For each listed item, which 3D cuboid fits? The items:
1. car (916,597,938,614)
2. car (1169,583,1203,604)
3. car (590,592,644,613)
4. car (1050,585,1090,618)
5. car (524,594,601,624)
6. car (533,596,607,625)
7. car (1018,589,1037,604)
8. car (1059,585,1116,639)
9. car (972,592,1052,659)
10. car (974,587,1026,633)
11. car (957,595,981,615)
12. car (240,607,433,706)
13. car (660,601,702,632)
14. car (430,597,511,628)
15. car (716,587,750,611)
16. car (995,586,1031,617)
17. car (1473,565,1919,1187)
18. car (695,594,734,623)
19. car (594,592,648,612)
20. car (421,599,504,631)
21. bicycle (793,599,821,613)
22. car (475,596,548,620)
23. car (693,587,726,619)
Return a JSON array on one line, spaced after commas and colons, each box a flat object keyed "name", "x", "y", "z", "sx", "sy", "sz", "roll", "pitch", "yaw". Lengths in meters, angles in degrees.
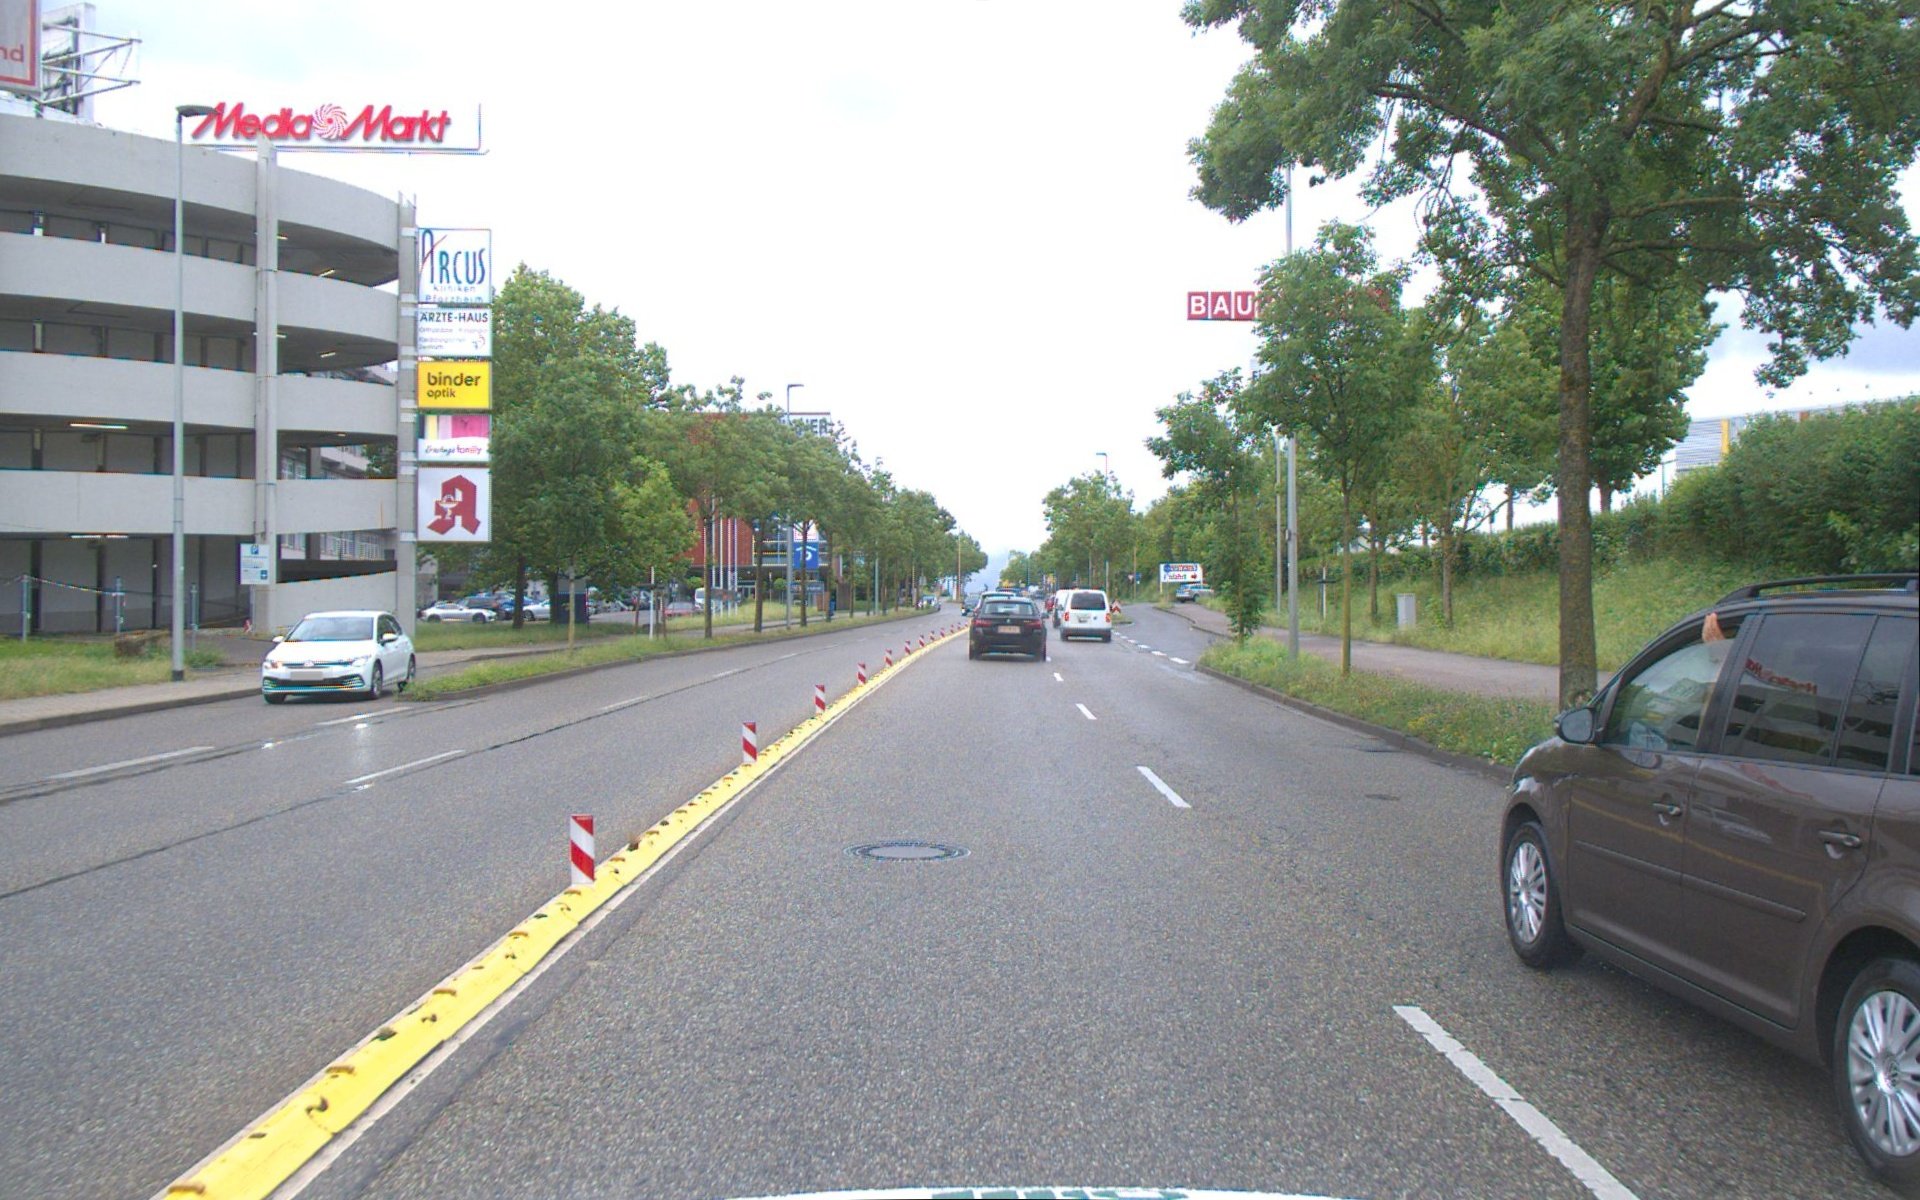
[{"name": "car", "x": -3.295, "y": 0.506, "z": 164.694, "sx": 1.828, "sy": 1.580, "sz": 4.577, "roll": -2, "pitch": 0, "yaw": 2}, {"name": "car", "x": 18.652, "y": -0.539, "z": 136.178, "sx": 1.758, "sy": 1.537, "sz": 3.998, "roll": 2, "pitch": -1, "yaw": 23}, {"name": "car", "x": -27.366, "y": 0.171, "z": 132.076, "sx": 4.029, "sy": 1.536, "sz": 1.817, "roll": 1, "pitch": 1, "yaw": -6}, {"name": "car", "x": 5.334, "y": 0.088, "z": 80.826, "sx": 1.757, "sy": 1.537, "sz": 4.001, "roll": 2, "pitch": -1, "yaw": 2}, {"name": "car", "x": -25.127, "y": 0.556, "z": 104.667, "sx": 4.510, "sy": 1.776, "sz": 1.965, "roll": 1, "pitch": 1, "yaw": -6}, {"name": "car", "x": -25.334, "y": 0.664, "z": 107.506, "sx": 4.412, "sy": 1.776, "sz": 1.898, "roll": 1, "pitch": 1, "yaw": -6}, {"name": "car", "x": 7.180, "y": -0.402, "z": 177.254, "sx": 1.758, "sy": 1.537, "sz": 3.999, "roll": 2, "pitch": -1, "yaw": -1}, {"name": "car", "x": 4.519, "y": 0.393, "z": 58.984, "sx": 1.789, "sy": 1.789, "sz": 4.001, "roll": 2, "pitch": 0, "yaw": 2}, {"name": "car", "x": 1.236, "y": 0.572, "z": 39.831, "sx": 1.789, "sy": 1.494, "sz": 4.001, "roll": 1, "pitch": 0, "yaw": 1}, {"name": "car", "x": 1.455, "y": 0.367, "z": 59.308, "sx": 1.757, "sy": 1.537, "sz": 4.001, "roll": 2, "pitch": -1, "yaw": 2}, {"name": "car", "x": 0.696, "y": 0.361, "z": 126.098, "sx": 1.789, "sy": 1.491, "sz": 4.617, "roll": 0, "pitch": 0, "yaw": 1}, {"name": "car", "x": -10.516, "y": 0.903, "z": 28.237, "sx": 1.862, "sy": 1.433, "sz": 4.420, "roll": -2, "pitch": 1, "yaw": -4}, {"name": "car", "x": -16.760, "y": 0.958, "z": 99.714, "sx": 1.894, "sy": 1.637, "sz": 4.710, "roll": 1, "pitch": 2, "yaw": -2}, {"name": "car", "x": -30.248, "y": 0.739, "z": 102.238, "sx": 4.514, "sy": 1.776, "sz": 2.130, "roll": 1, "pitch": 1, "yaw": -9}, {"name": "car", "x": -18.532, "y": -0.088, "z": 135.006, "sx": 2.094, "sy": 1.804, "sz": 4.609, "roll": 1, "pitch": 1, "yaw": 0}, {"name": "car", "x": 2.778, "y": 0.082, "z": 87.649, "sx": 1.757, "sy": 1.537, "sz": 4.000, "roll": 2, "pitch": -1, "yaw": 1}, {"name": "car", "x": 3.290, "y": 0.729, "z": 5.627, "sx": 1.651, "sy": 1.609, "sz": 4.217, "roll": 1, "pitch": 0, "yaw": -2}, {"name": "car", "x": -16.916, "y": 0.540, "z": 114.149, "sx": 1.997, "sy": 1.792, "sz": 4.946, "roll": 1, "pitch": 1, "yaw": -1}, {"name": "car", "x": -27.512, "y": 0.158, "z": 134.310, "sx": 4.029, "sy": 1.536, "sz": 1.817, "roll": 1, "pitch": 1, "yaw": -6}, {"name": "car", "x": -29.802, "y": 0.877, "z": 99.241, "sx": 4.514, "sy": 1.776, "sz": 1.963, "roll": 1, "pitch": 1, "yaw": -9}, {"name": "bicycle", "x": -12.296, "y": 0.502, "z": 132.888, "sx": 2.033, "sy": 0.951, "sz": 1.094, "roll": 4, "pitch": 0, "yaw": 6}, {"name": "car", "x": -30.722, "y": 0.545, "z": 113.279, "sx": 4.521, "sy": 1.536, "sz": 2.023, "roll": 1, "pitch": 1, "yaw": -6}, {"name": "car", "x": -18.125, "y": 0.178, "z": 119.871, "sx": 2.073, "sy": 2.132, "sz": 5.116, "roll": 1, "pitch": 1, "yaw": -6}]
